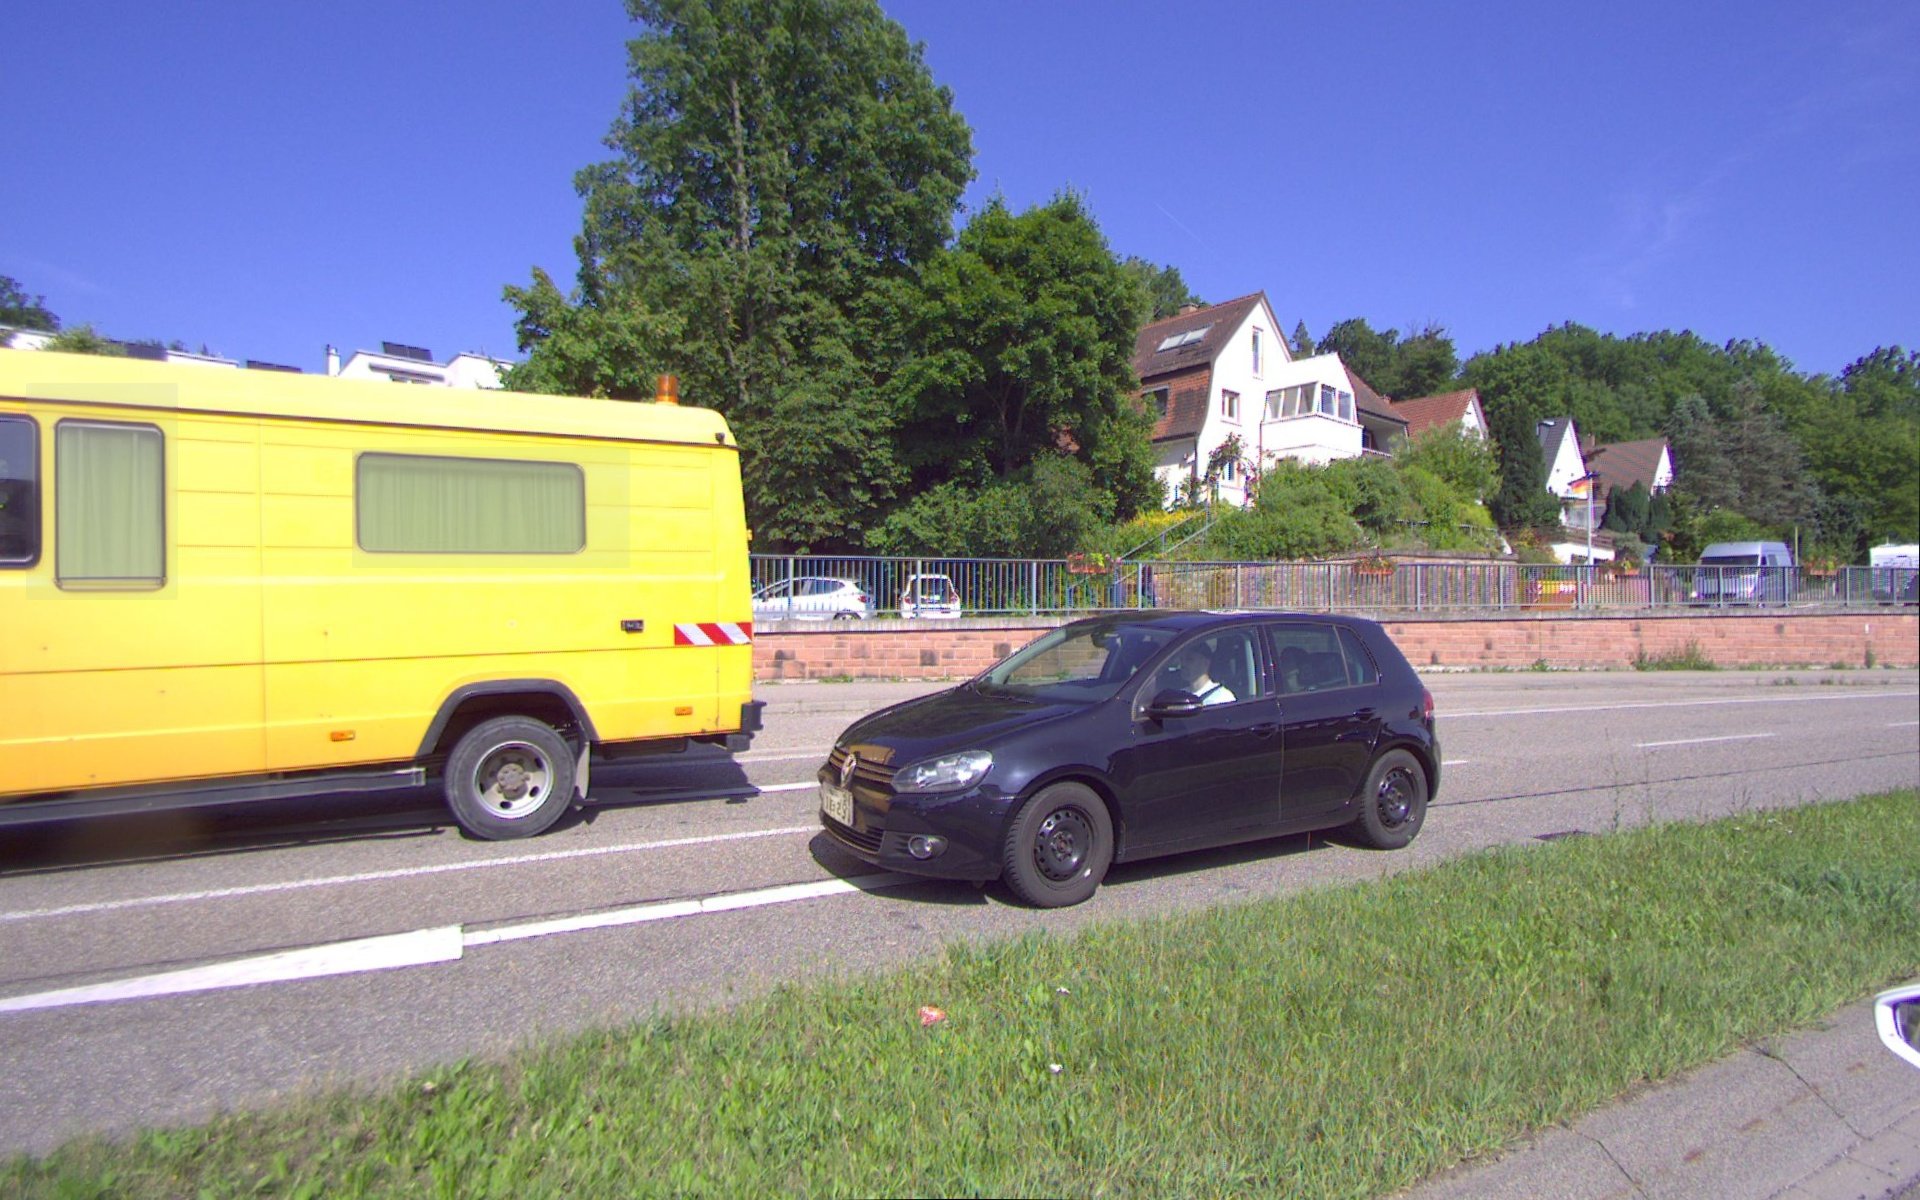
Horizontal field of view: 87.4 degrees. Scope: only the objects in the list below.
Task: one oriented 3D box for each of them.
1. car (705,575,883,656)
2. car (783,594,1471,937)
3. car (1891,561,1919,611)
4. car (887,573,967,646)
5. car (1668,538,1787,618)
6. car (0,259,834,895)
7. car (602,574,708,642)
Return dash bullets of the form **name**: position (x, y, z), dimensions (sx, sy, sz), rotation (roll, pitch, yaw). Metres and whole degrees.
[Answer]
- **car**: position (-3.903, 0.373, 24.165), dimensions (3.921, 1.813, 1.922), rotation (1, 0, 1)
- **car**: position (1.122, 0.747, 6.130), dimensions (3.997, 1.482, 1.737), rotation (1, -1, -31)
- **car**: position (39.193, -0.560, 40.061), dimensions (4.682, 1.946, 2.008), rotation (-1, 2, -34)
- **car**: position (-0.996, 0.198, 28.109), dimensions (1.878, 1.901, 3.995), rotation (0, 2, -7)
- **car**: position (25.929, -0.753, 33.840), dimensions (5.739, 2.477, 2.074), rotation (-1, 2, -41)
- **car**: position (-4.267, -0.109, 6.468), dimensions (6.392, 3.051, 2.454), rotation (1, 1, -31)
- **car**: position (-8.418, 0.157, 28.121), dimensions (1.877, 1.724, 3.998), rotation (0, 2, -3)
